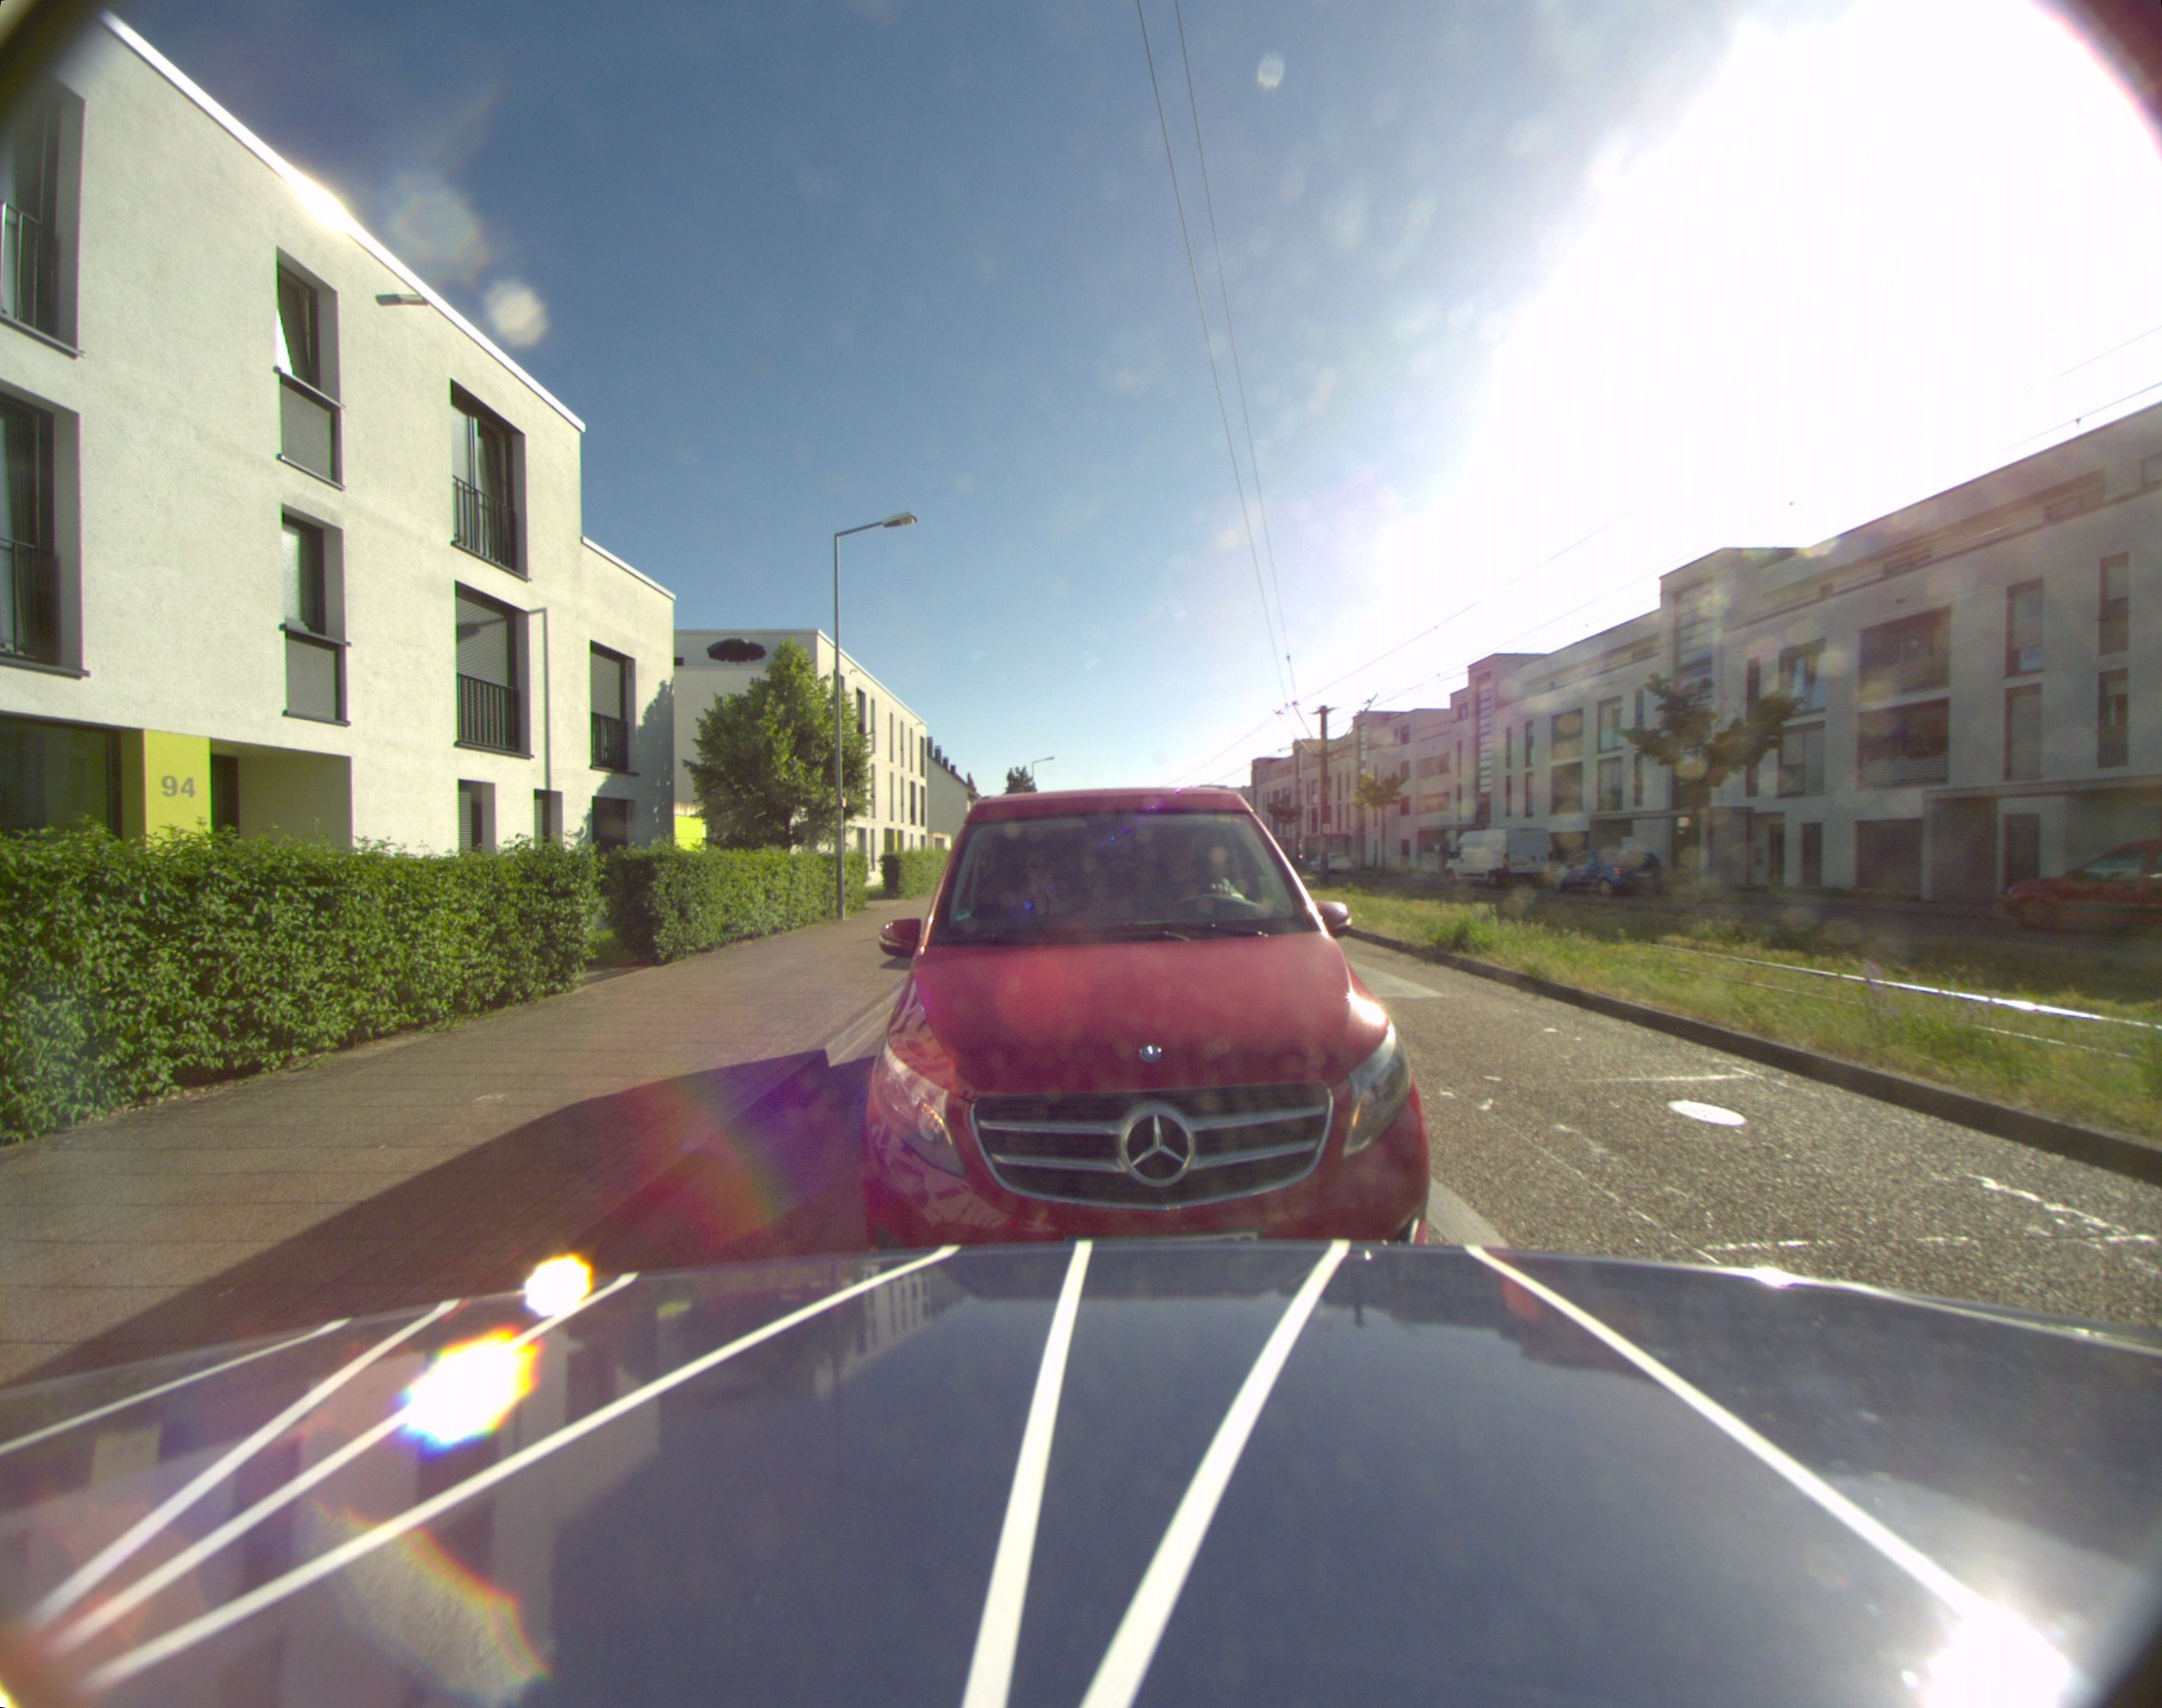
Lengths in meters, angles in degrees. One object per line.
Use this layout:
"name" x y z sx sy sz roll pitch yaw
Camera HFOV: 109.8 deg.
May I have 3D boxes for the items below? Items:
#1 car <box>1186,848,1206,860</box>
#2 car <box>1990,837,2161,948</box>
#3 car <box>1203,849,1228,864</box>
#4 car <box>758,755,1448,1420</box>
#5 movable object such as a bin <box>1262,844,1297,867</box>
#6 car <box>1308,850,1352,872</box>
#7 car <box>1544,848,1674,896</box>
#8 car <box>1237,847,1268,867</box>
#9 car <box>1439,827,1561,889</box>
"car" 15.031 -0.016 99.577 1.766 1.590 4.155 -2 0 -4
"car" 18.564 0.617 12.818 1.885 1.785 3.837 -2 0 1
"car" 13.299 0.279 75.370 1.792 1.410 4.000 1 0 1
"car" 0.124 0.696 4.864 1.979 1.922 5.205 -2 0 1
"movable object such as a bin" 17.481 0.086 67.186 1.766 1.926 4.155 -2 0 -4
"car" 17.567 0.466 53.823 1.521 1.424 4.155 -2 0 -4
"car" 18.219 0.574 26.452 1.829 1.528 3.842 -2 0 0
"car" 16.728 0.248 74.257 1.766 1.859 4.155 -2 0 -4
"car" 18.168 0.147 33.350 2.146 2.430 5.588 -2 0 -1
